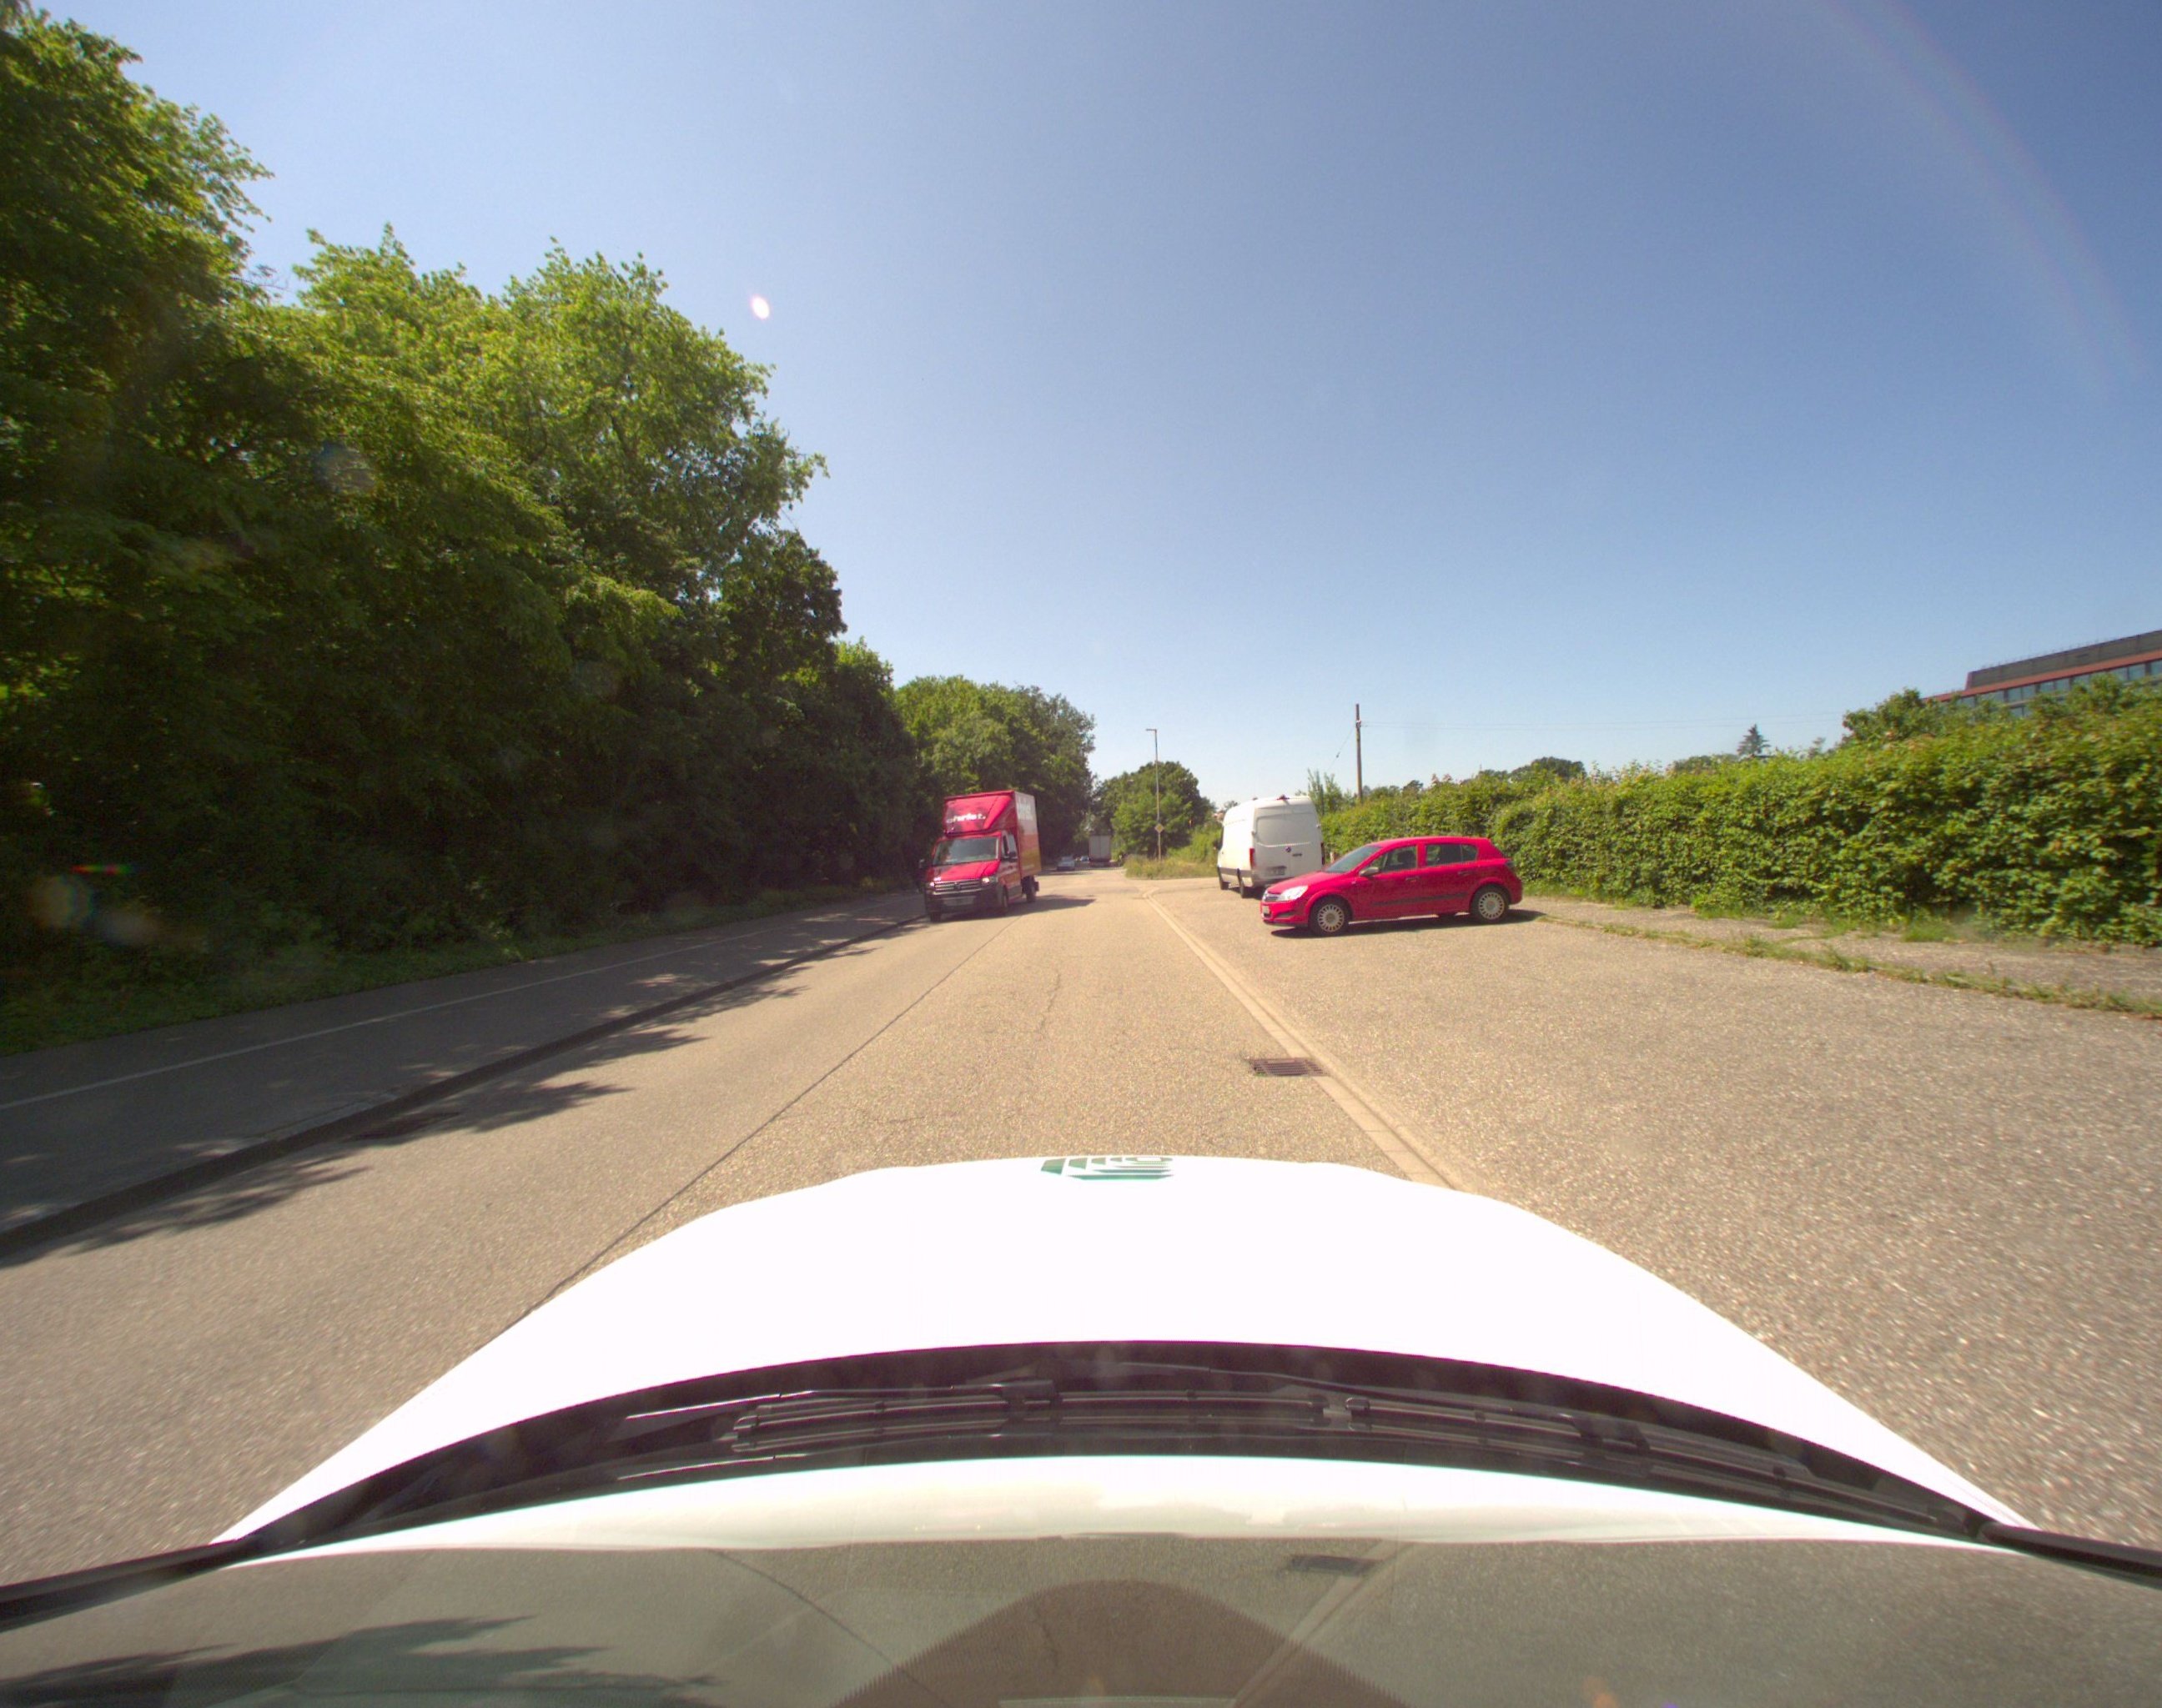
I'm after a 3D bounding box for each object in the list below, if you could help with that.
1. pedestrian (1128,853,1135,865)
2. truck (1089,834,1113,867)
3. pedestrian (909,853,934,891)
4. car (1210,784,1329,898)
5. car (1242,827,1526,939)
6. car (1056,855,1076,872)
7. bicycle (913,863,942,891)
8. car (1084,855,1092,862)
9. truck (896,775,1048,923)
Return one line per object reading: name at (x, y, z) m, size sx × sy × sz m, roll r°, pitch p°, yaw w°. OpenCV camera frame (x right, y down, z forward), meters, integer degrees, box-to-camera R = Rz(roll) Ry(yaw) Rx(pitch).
pedestrian at (6.915, 0.702, 111.730) m, size 0.860 × 1.677 × 0.885 m, roll -3°, pitch 0°, yaw 0°
truck at (2.477, -0.384, 99.835) m, size 2.723 × 3.745 × 13.251 m, roll -1°, pitch 0°, yaw 2°
pedestrian at (-7.236, 0.813, 36.988) m, size 0.802 × 1.718 × 0.780 m, roll -2°, pitch 0°, yaw 16°
car at (5.344, -0.359, 24.248) m, size 1.947 × 2.733 × 7.171 m, roll -5°, pitch 0°, yaw 2°
car at (4.979, 0.442, 13.761) m, size 4.044 × 1.434 × 1.834 m, roll -5°, pitch 0°, yaw -2°
car at (-1.466, 0.940, 81.416) m, size 1.785 × 1.572 × 4.272 m, roll -2°, pitch 0°, yaw 1°
bicycle at (-6.937, 1.024, 36.866) m, size 0.518 × 1.236 × 1.968 m, roll -1°, pitch 0°, yaw 13°
car at (1.915, 1.277, 226.896) m, size 1.986 × 1.684 × 4.264 m, roll -3°, pitch 0°, yaw 2°
truck at (-2.833, -0.160, 23.529) m, size 2.310 × 3.440 × 7.176 m, roll -5°, pitch 0°, yaw 7°
